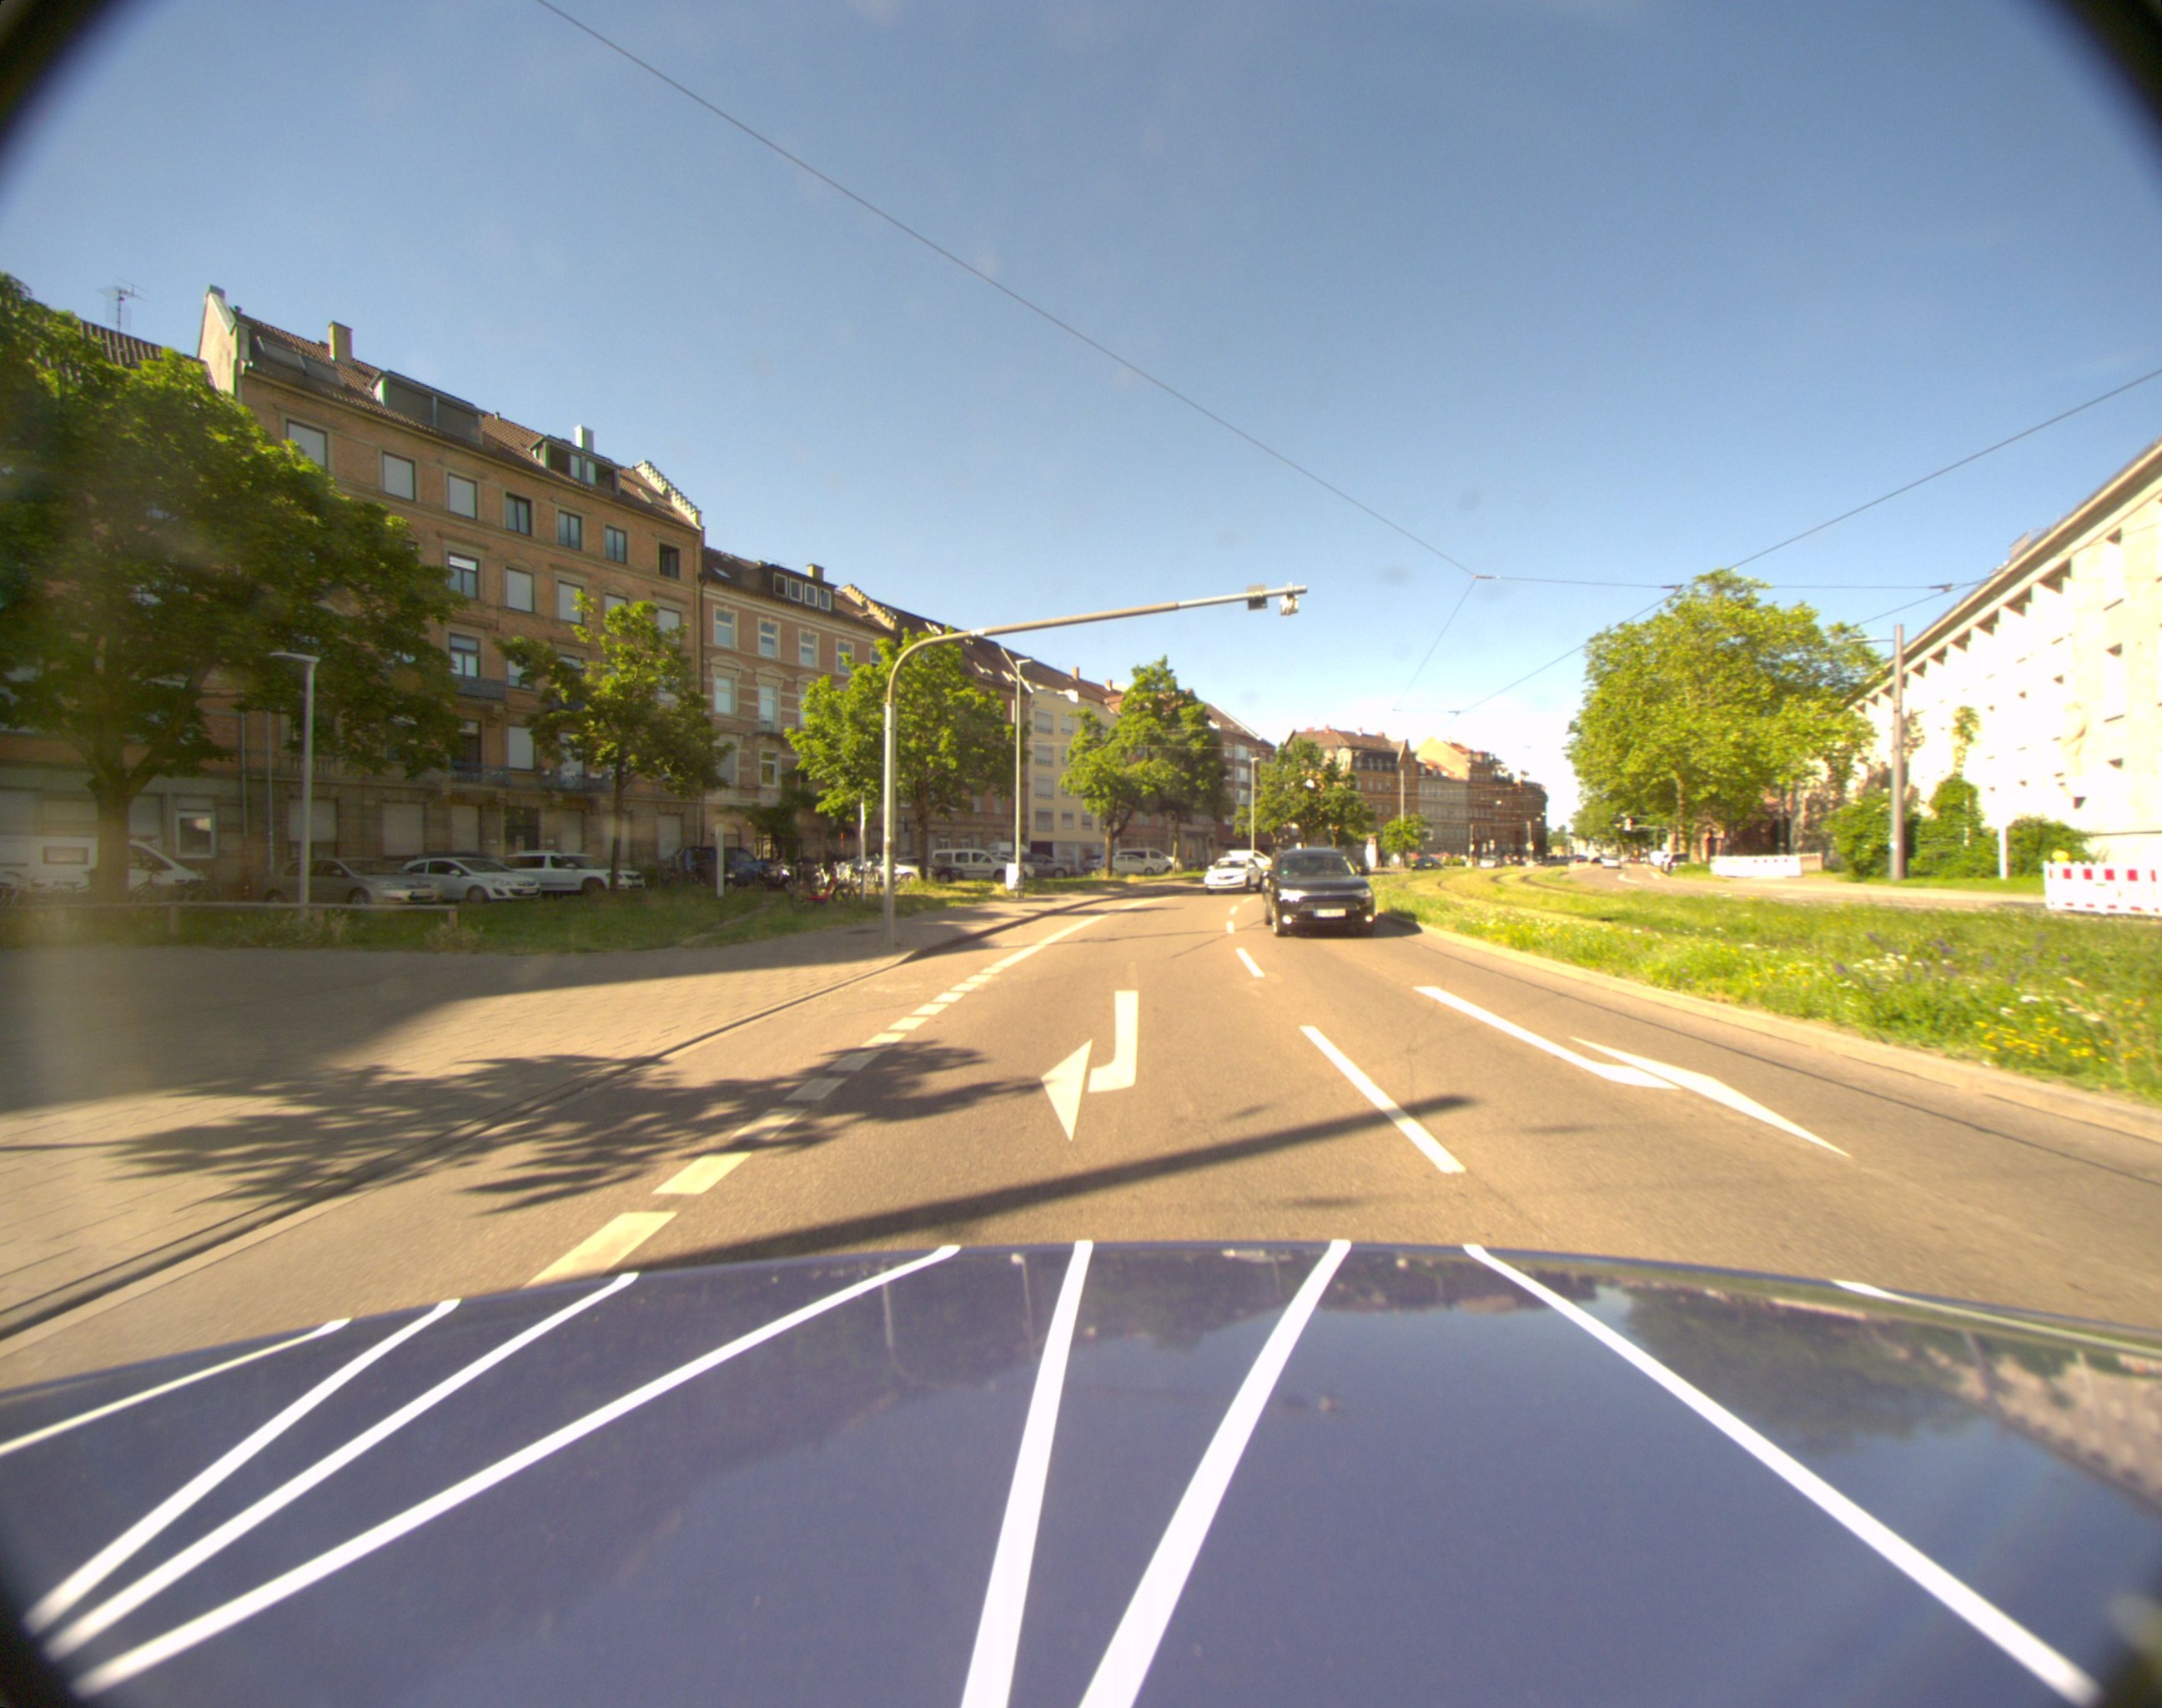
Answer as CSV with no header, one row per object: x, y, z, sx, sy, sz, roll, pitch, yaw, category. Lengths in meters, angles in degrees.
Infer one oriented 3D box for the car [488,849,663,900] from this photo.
-16.276,0.655,24.591,4.465,1.556,1.939,-1,0,5,car

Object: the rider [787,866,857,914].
-6.947,0.944,20.433,1.679,1.169,0.502,-2,2,-36,rider

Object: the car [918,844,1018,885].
-5.888,0.532,40.065,4.875,2.001,2.101,1,1,2,car

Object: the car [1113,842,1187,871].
5.020,0.145,55.143,5.180,2.001,2.101,1,1,7,car

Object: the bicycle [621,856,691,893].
-15.900,0.760,28.466,2.099,1.357,0.787,-1,1,-4,bicycle

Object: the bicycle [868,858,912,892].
-7.434,0.798,29.605,1.598,1.282,0.769,0,1,-14,bicycle

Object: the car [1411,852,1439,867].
33.288,0.492,73.490,1.886,1.419,4.385,-1,0,32,car

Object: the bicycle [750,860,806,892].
-11.393,0.800,28.553,2.163,1.151,0.824,-1,1,33,bicycle

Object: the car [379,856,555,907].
-17.898,0.779,22.237,3.839,1.433,1.761,-1,0,5,car

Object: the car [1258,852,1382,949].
4.711,0.825,15.619,1.839,1.672,4.646,-2,0,11,car

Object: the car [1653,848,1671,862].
86.285,0.182,112.885,1.917,2.084,4.602,0,0,35,car

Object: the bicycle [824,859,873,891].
-9.246,0.809,30.208,1.958,1.185,0.843,1,1,36,bicycle

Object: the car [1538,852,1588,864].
60.068,0.524,94.704,1.839,1.444,4.948,0,1,-30,car

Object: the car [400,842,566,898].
-23.211,0.585,29.676,1.994,1.966,4.734,2,1,36,car

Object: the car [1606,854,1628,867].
61.705,0.712,87.467,1.830,1.444,4.179,1,1,37,car

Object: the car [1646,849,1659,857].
104.958,-0.154,139.571,1.791,1.542,4.316,0,0,37,car

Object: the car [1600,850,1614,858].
119.282,-0.011,172.174,2.061,1.880,4.527,3,2,41,car

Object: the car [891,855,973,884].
-7.325,0.740,37.573,3.611,1.372,1.926,-1,0,3,car

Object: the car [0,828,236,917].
-28.461,0.490,21.959,2.349,2.343,5.199,2,1,37,car

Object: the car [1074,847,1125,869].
1.596,0.346,64.601,1.994,1.789,4.636,2,1,36,car

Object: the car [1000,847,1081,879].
-2.350,0.499,45.190,4.507,1.718,2.001,1,1,7,car

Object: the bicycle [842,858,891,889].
-8.753,0.774,30.994,1.945,1.174,0.902,1,2,36,bicycle

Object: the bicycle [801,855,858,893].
-9.205,0.716,27.766,2.094,1.357,0.789,-1,1,31,bicycle

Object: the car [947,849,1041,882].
-4.849,0.623,42.726,4.874,1.638,2.101,1,1,7,car

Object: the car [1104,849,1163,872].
3.606,0.458,52.481,4.026,1.470,1.813,1,1,3,car

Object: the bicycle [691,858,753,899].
-12.564,0.844,26.609,2.095,1.390,0.789,-1,1,25,bicycle

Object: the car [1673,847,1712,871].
39.305,0.315,48.922,1.830,1.483,4.190,-1,0,37,car

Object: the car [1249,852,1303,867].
19.361,0.523,75.632,4.875,1.426,2.021,1,1,3,car

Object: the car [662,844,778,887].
-17.696,0.525,37.439,1.994,1.966,4.734,2,1,36,car

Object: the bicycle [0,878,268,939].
-22.671,1.189,17.280,2.676,1.120,5.232,-1,0,31,bicycle

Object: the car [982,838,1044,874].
-4.965,0.135,55.894,1.994,2.570,4.523,2,1,38,car

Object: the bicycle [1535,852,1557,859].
90.036,0.303,147.084,1.801,1.429,8.797,0,0,44,bicycle

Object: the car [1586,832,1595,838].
132.281,-4.870,197.232,1.793,1.420,4.385,0,0,37,car

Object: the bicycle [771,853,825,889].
-10.973,0.658,29.463,2.094,1.357,0.789,-1,1,31,bicycle

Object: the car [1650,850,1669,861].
79.804,0.241,104.772,1.775,1.564,3.685,0,0,33,car

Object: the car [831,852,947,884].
-8.774,0.625,35.019,4.748,1.372,2.046,-1,0,3,car

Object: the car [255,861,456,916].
-19.045,0.883,20.016,4.050,1.329,1.841,-1,0,11,car

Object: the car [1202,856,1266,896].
7.027,0.951,34.490,1.798,1.626,4.401,-1,0,26,car

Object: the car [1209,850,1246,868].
16.073,0.537,83.356,1.996,1.465,4.498,-8,-3,39,car

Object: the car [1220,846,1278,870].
15.354,0.388,69.655,4.876,2.063,2.021,1,1,2,car

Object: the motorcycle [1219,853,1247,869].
13.414,0.633,67.086,2.262,1.412,0.854,1,1,-13,motorcycle
